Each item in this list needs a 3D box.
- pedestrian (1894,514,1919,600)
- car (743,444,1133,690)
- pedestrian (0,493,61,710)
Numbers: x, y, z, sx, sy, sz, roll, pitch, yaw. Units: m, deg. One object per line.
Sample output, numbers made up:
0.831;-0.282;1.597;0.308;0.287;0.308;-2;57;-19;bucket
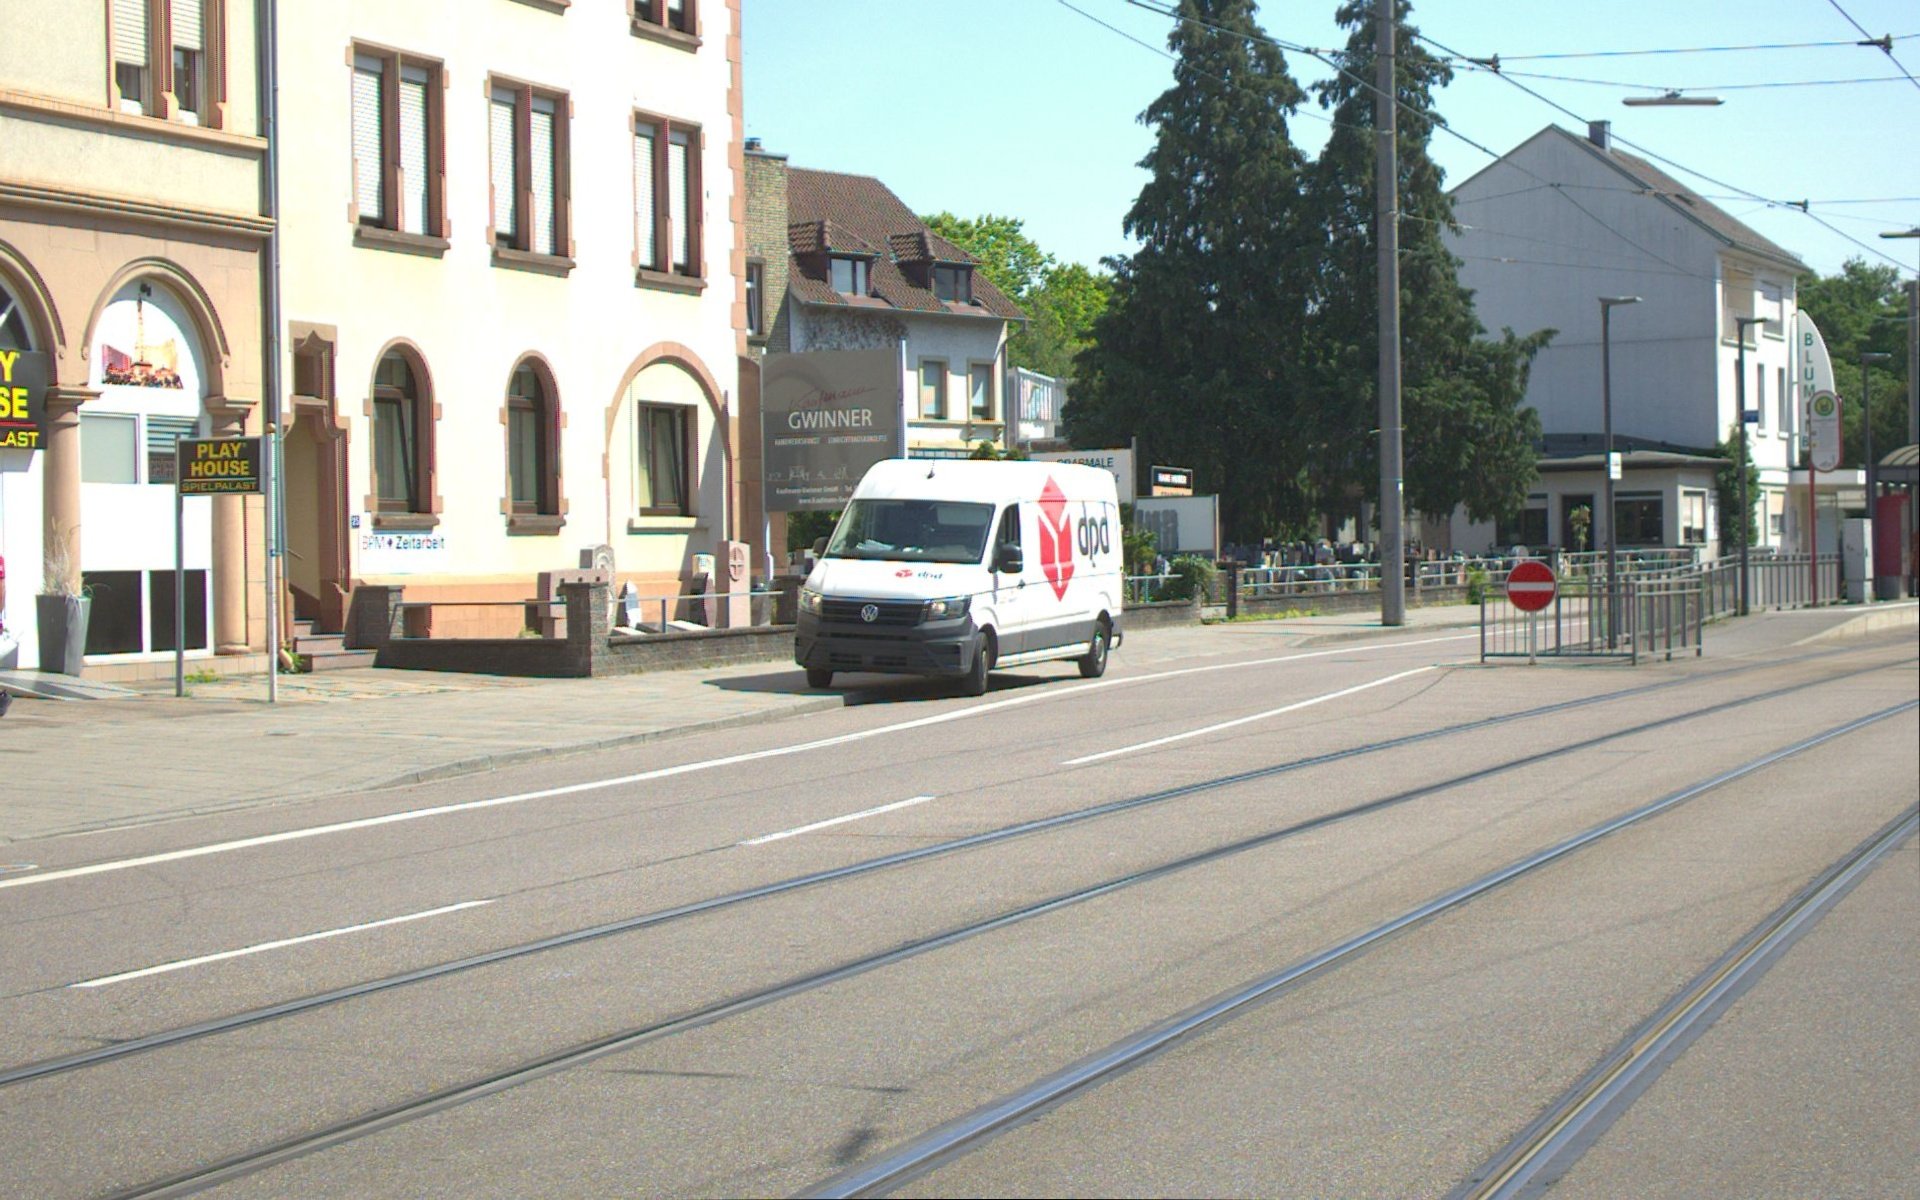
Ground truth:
18.737;-0.842;67.540;0.706;1.684;0.416;-1;1;18;pedestrian
-0.097;-0.429;39.051;2.332;2.527;6.500;2;2;19;car
-8.330;0.011;28.875;0.944;1.809;1.128;0;1;33;pedestrian
